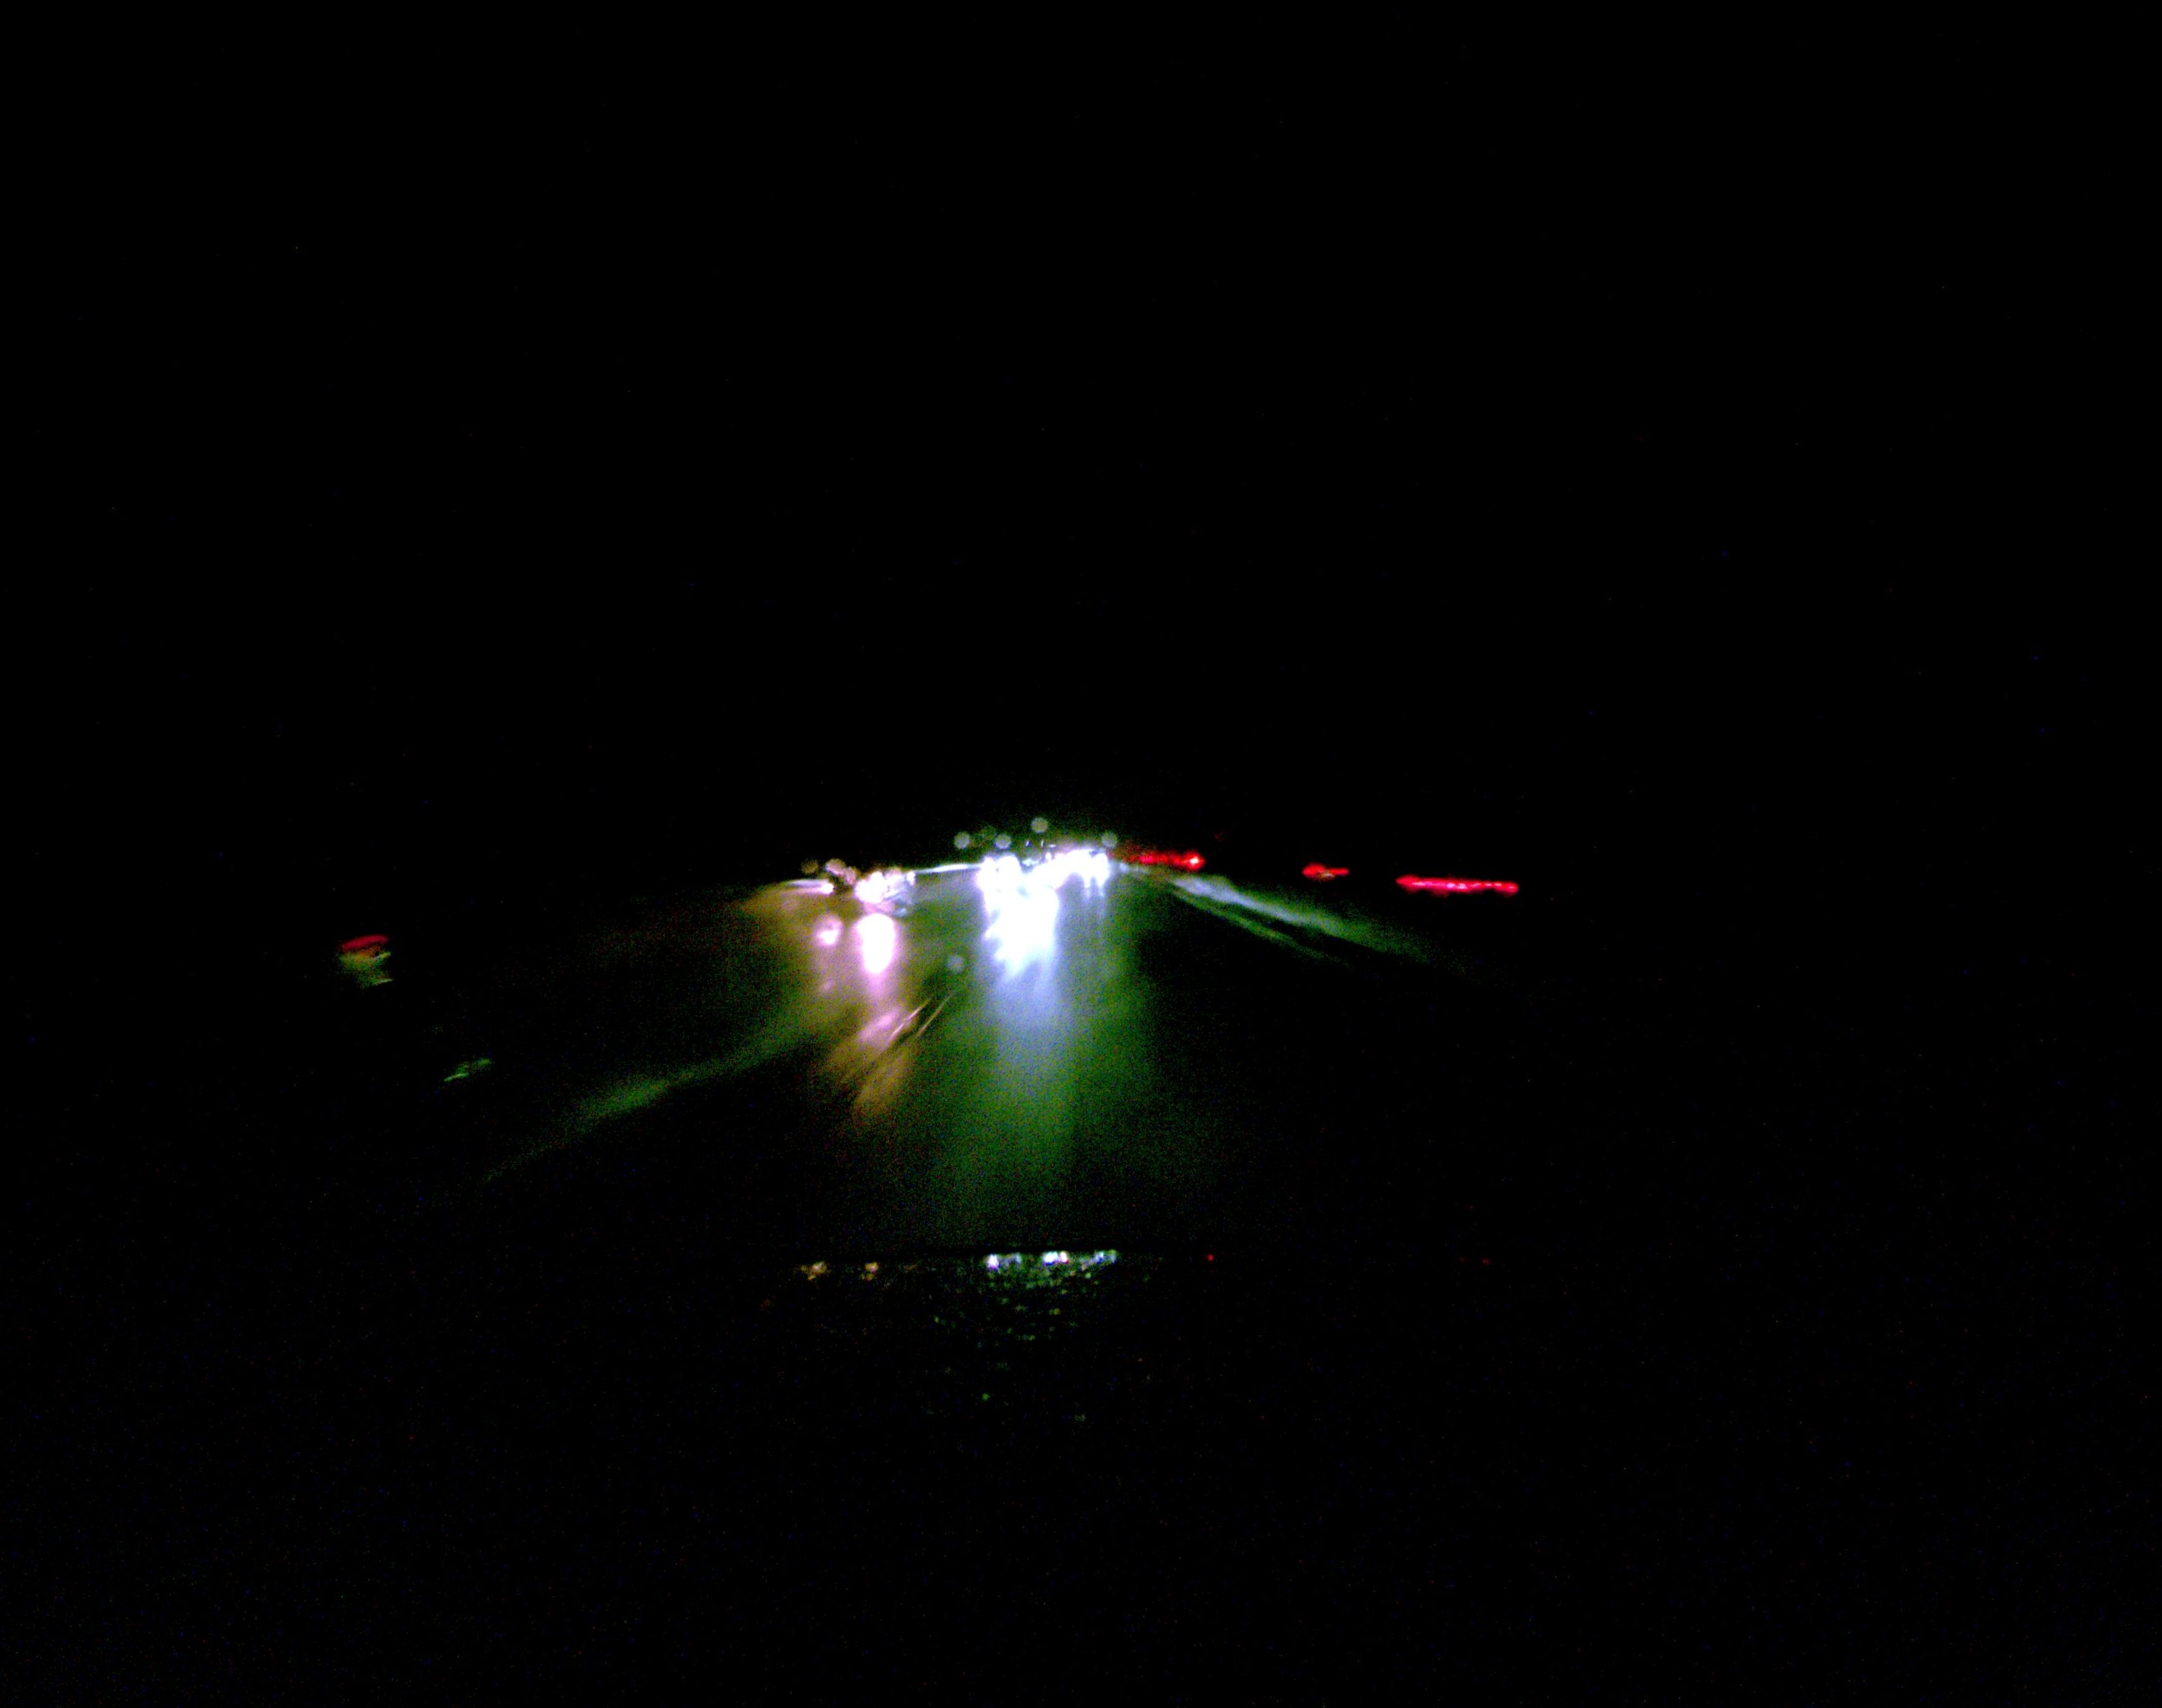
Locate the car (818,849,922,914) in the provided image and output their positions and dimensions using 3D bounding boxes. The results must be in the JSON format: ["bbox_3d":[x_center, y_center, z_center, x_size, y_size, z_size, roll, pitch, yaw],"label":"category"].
[{"bbox_3d":[-7.034,0.837,26.009,2.051,1.962,5.406,-1,0,-1],"label":"car"}]

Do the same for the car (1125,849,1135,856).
[{"bbox_3d":[10.829,-0.300,167.678,1.967,1.337,4.288,-2,0,0],"label":"car"}]

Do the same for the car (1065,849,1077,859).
[{"bbox_3d":[-1.766,-0.037,134.040,1.944,1.521,4.000,-2,1,2],"label":"car"}]

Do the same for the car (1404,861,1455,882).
[{"bbox_3d":[27.669,1.384,60.430,1.868,1.462,4.352,-3,1,-3],"label":"car"}]

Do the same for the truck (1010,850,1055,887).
[{"bbox_3d":[-2.469,0.710,39.750,1.848,1.686,4.854,-2,1,1],"label":"truck"}]

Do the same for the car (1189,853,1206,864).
[{"bbox_3d":[18.039,0.667,117.589,1.877,1.607,4.501,0,0,0],"label":"car"}]

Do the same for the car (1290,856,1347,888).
[{"bbox_3d":[13.607,0.992,43.744,1.866,1.572,4.513,-2,1,1],"label":"car"}]

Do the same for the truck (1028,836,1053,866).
[{"bbox_3d":[-5.828,-0.482,111.106,2.866,4.079,7.014,-3,1,2],"label":"truck"}]

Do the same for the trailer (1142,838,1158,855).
[{"bbox_3d":[19.158,-1.944,212.002,2.894,4.278,15.719,-2,-1,1],"label":"trailer"}]

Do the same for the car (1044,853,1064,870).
[{"bbox_3d":[-2.557,0.720,73.800,1.619,1.494,3.767,-2,1,2],"label":"car"}]

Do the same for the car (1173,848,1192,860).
[{"bbox_3d":[14.427,-0.039,107.987,1.999,1.607,4.745,0,0,0],"label":"car"}]

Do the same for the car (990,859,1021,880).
[{"bbox_3d":[-5.854,1.194,59.178,1.747,1.470,5.366,-3,0,1],"label":"car"}]

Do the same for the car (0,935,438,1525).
[{"bbox_3d":[-3.688,1.107,1.477,1.616,1.404,3.791,-2,1,-1],"label":"car"}]

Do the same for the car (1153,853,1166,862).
[{"bbox_3d":[13.755,0.608,133.515,1.654,1.572,5.128,-2,0,1],"label":"car"}]

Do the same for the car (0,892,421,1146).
[{"bbox_3d":[-7.899,1.173,5.484,1.899,1.477,4.961,-2,0,-1],"label":"car"}]

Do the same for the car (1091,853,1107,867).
[{"bbox_3d":[1.979,0.637,82.722,1.619,1.452,3.767,-2,1,2],"label":"car"}]

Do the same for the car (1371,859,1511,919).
[{"bbox_3d":[9.069,0.816,19.553,1.758,1.354,4.116,0,0,1],"label":"car"}]

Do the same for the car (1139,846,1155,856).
[{"bbox_3d":[10.059,-0.462,116.040,1.999,1.607,4.417,0,0,0],"label":"car"}]
